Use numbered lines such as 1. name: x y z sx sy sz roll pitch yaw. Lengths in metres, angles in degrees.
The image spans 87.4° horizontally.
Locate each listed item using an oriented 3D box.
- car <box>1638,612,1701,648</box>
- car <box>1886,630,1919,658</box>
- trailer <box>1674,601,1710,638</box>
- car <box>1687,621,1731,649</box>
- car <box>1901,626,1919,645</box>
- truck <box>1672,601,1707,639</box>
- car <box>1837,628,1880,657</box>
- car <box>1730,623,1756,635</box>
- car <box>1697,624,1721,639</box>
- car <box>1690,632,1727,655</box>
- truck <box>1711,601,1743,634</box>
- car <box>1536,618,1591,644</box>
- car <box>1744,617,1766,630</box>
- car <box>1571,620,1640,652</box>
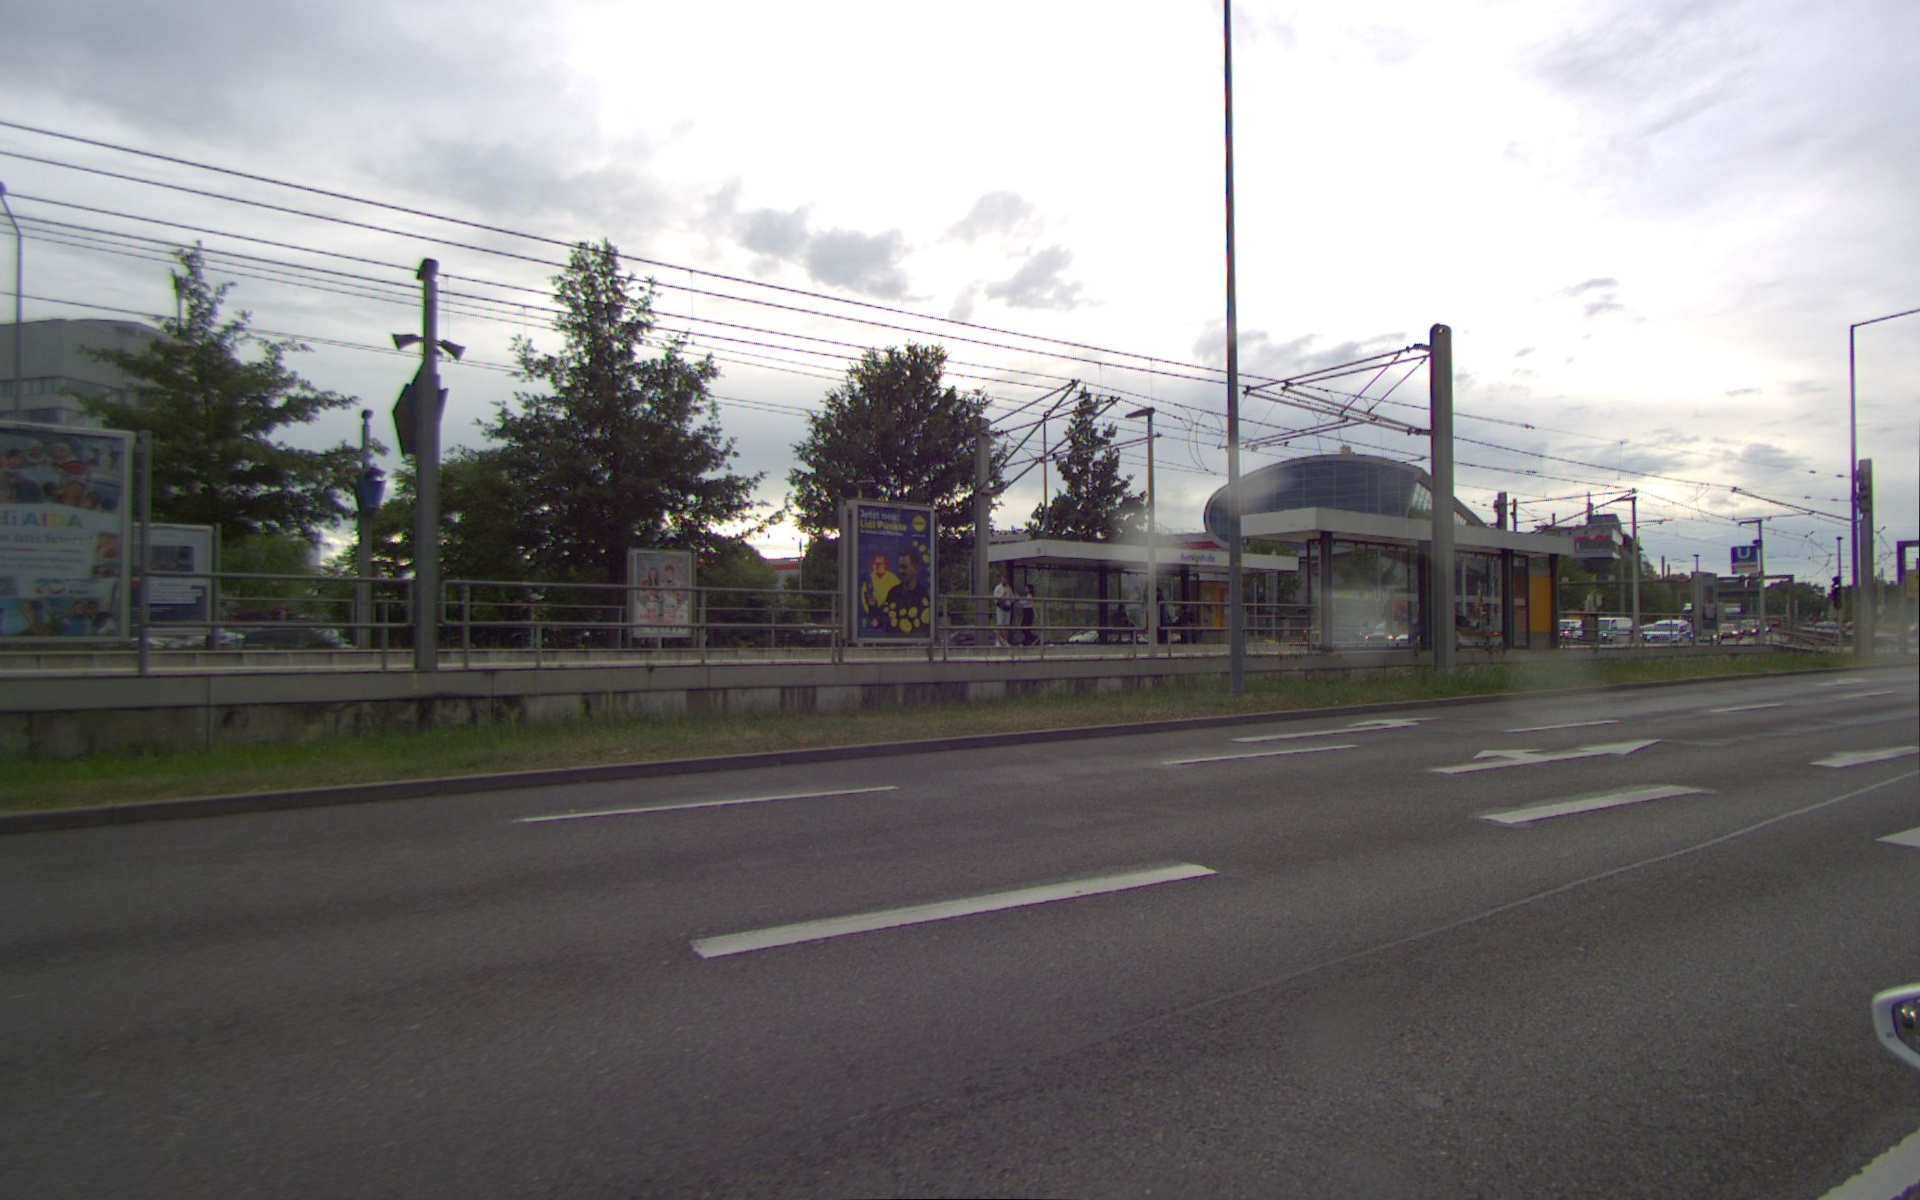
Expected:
1. car: 47.393 1.997 67.059 5.096 2.244 1.979 2 0 -37
2. car: 73.039 3.363 77.445 4.309 2.040 1.759 1 1 -39
3. trailer: 84.684 2.269 116.116 2.761 4.161 11.392 -2 -2 39
4. car: 58.272 2.749 78.106 4.311 2.040 1.758 2 0 -40
5. car: 103.557 3.878 109.016 1.751 2.040 4.327 2 0 40
6. truck: 81.177 2.215 111.771 2.798 4.049 5.959 -1 -2 39
7. car: 68.020 3.161 76.041 4.309 2.040 1.759 1 1 -39
8. car: 91.355 3.351 117.144 1.888 1.281 4.387 1 -1 44
9. car: 77.763 3.291 104.271 1.718 1.481 4.134 2 0 39
10. car: 58.356 3.354 78.310 4.237 1.688 1.514 2 0 -42
11. truck: 100.426 2.394 131.475 2.639 4.184 6.148 -2 -3 44
12. car: 43.195 2.219 71.840 4.630 1.722 2.086 2 0 -41
13. car: 103.524 3.088 130.843 1.867 1.674 4.072 2 0 43
14. car: 38.316 2.125 59.559 4.989 1.754 1.977 2 0 -40
